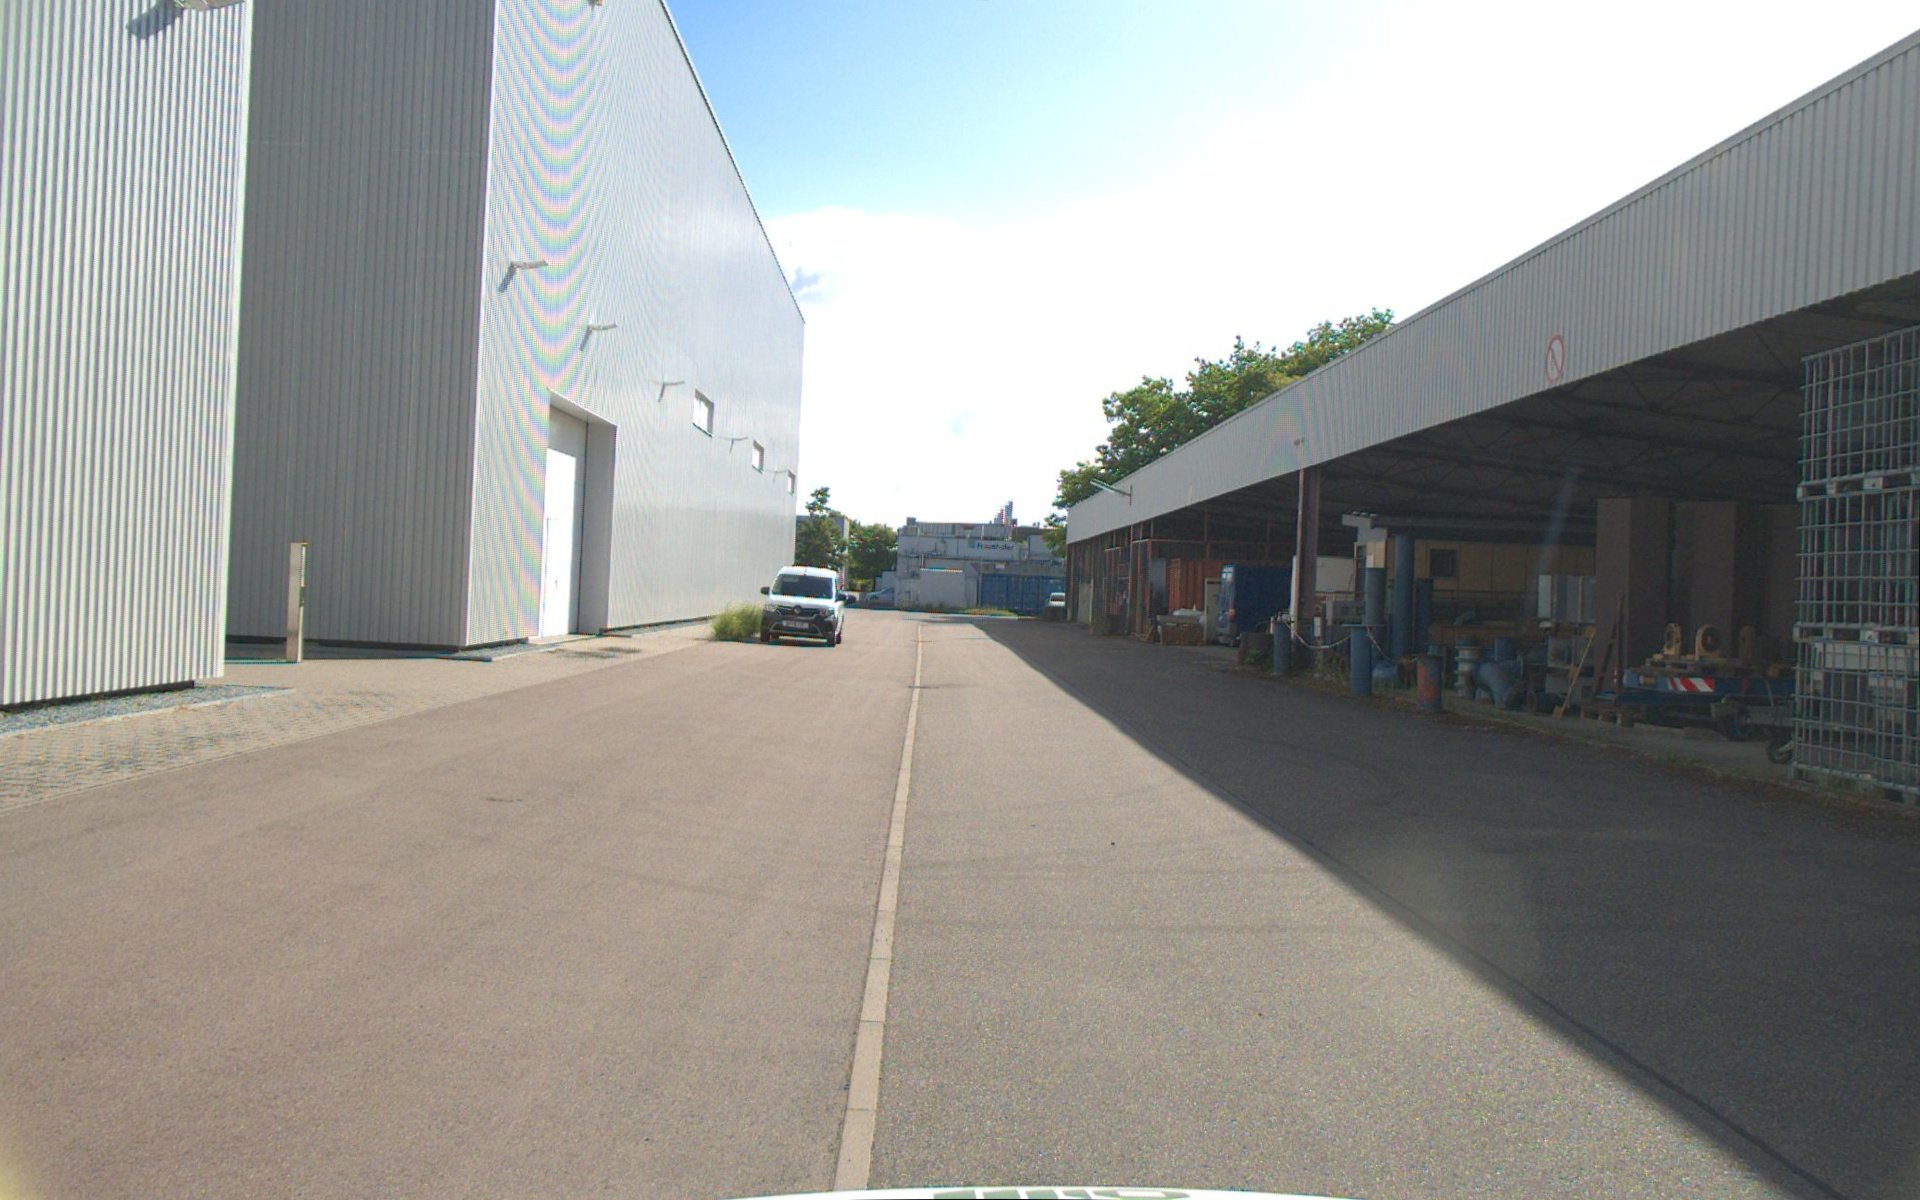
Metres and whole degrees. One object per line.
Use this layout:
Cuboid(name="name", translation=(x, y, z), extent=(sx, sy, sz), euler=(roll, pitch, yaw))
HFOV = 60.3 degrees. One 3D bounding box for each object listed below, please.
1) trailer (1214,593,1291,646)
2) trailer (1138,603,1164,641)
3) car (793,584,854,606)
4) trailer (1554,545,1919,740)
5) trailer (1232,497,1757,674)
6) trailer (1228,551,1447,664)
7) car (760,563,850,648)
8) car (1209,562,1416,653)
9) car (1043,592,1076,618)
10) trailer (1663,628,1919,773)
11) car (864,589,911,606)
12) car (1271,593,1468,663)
Cuboid(name="trailer", translation=(8.540, 0.567, 48.434), extent=(1.996, 1.492, 1.739), euler=(1, 0, 3))
Cuboid(name="trailer", translation=(5.926, 0.674, 51.469), extent=(0.541, 1.138, 1.546), euler=(1, 0, -3))
Cuboid(name="car", translation=(-10.039, -0.375, 122.051), extent=(4.358, 1.558, 1.823), euler=(1, 0, -2))
Cuboid(name="trailer", translation=(9.276, 0.463, 18.713), extent=(4.332, 2.025, 2.163), euler=(1, 0, 0))
Cuboid(name="trailer", translation=(10.976, -0.288, 34.595), extent=(10.059, 3.401, 2.800), euler=(1, 0, -1))
Cuboid(name="trailer", translation=(8.388, 0.162, 37.019), extent=(4.424, 2.383, 2.047), euler=(1, 0, -1))
Cuboid(name="car", translation=(-3.708, 0.134, 40.267), extent=(1.748, 1.847, 4.600), euler=(4, 0, -2))
Cuboid(name="car", translation=(9.712, 0.208, 45.854), extent=(5.225, 2.321, 2.152), euler=(2, 0, -2))
Cuboid(name="car", translation=(6.585, 0.318, 110.066), extent=(1.939, 1.630, 4.377), euler=(1, 1, 0))
Cuboid(name="trailer", translation=(9.749, 0.919, 15.388), extent=(5.613, 1.206, 1.973), euler=(1, 0, -3))
Cuboid(name="car", translation=(-6.577, -0.237, 150.049), extent=(4.216, 1.483, 1.823), euler=(1, 0, -2))
Cuboid(name="car", translation=(9.763, 0.652, 39.615), extent=(4.165, 1.497, 1.868), euler=(2, 0, -5))
